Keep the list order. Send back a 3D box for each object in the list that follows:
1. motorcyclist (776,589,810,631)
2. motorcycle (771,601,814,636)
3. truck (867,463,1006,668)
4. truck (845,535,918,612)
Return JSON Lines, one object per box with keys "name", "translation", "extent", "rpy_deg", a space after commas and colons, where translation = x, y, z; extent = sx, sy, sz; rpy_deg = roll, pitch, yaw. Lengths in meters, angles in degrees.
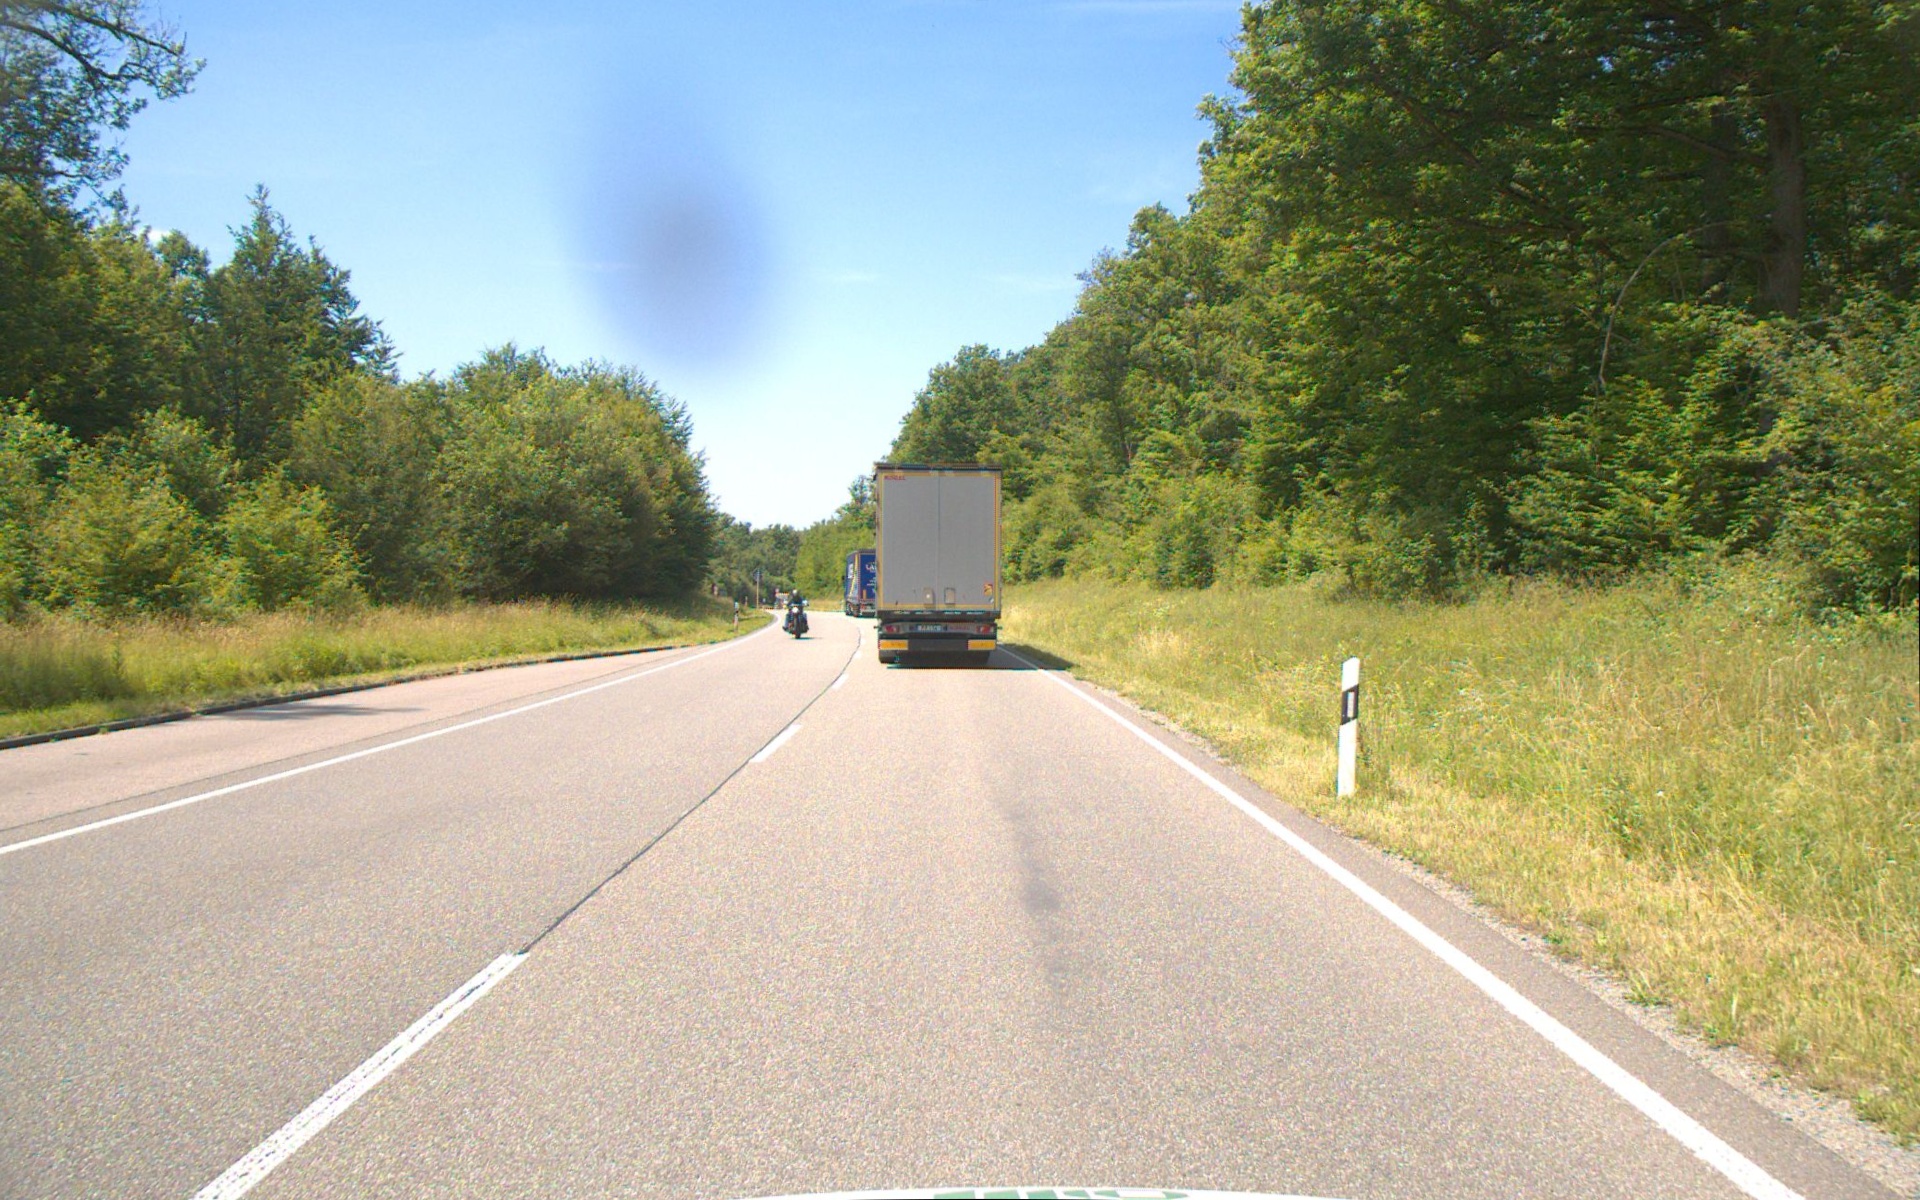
{"name": "motorcyclist", "translation": [-5.459, 0.332, 54.076], "extent": [0.988, 1.350, 0.966], "rpy_deg": [0, 0, 2]}
{"name": "motorcycle", "translation": [-5.462, 0.587, 54.106], "extent": [0.993, 1.081, 2.773], "rpy_deg": [0, 0, 2]}
{"name": "truck", "translation": [-0.584, -0.690, 38.640], "extent": [2.705, 4.016, 12.194], "rpy_deg": [1, 0, -1]}
{"name": "truck", "translation": [-5.139, -1.589, 105.256], "extent": [3.720, 4.449, 14.901], "rpy_deg": [1, 0, -6]}
